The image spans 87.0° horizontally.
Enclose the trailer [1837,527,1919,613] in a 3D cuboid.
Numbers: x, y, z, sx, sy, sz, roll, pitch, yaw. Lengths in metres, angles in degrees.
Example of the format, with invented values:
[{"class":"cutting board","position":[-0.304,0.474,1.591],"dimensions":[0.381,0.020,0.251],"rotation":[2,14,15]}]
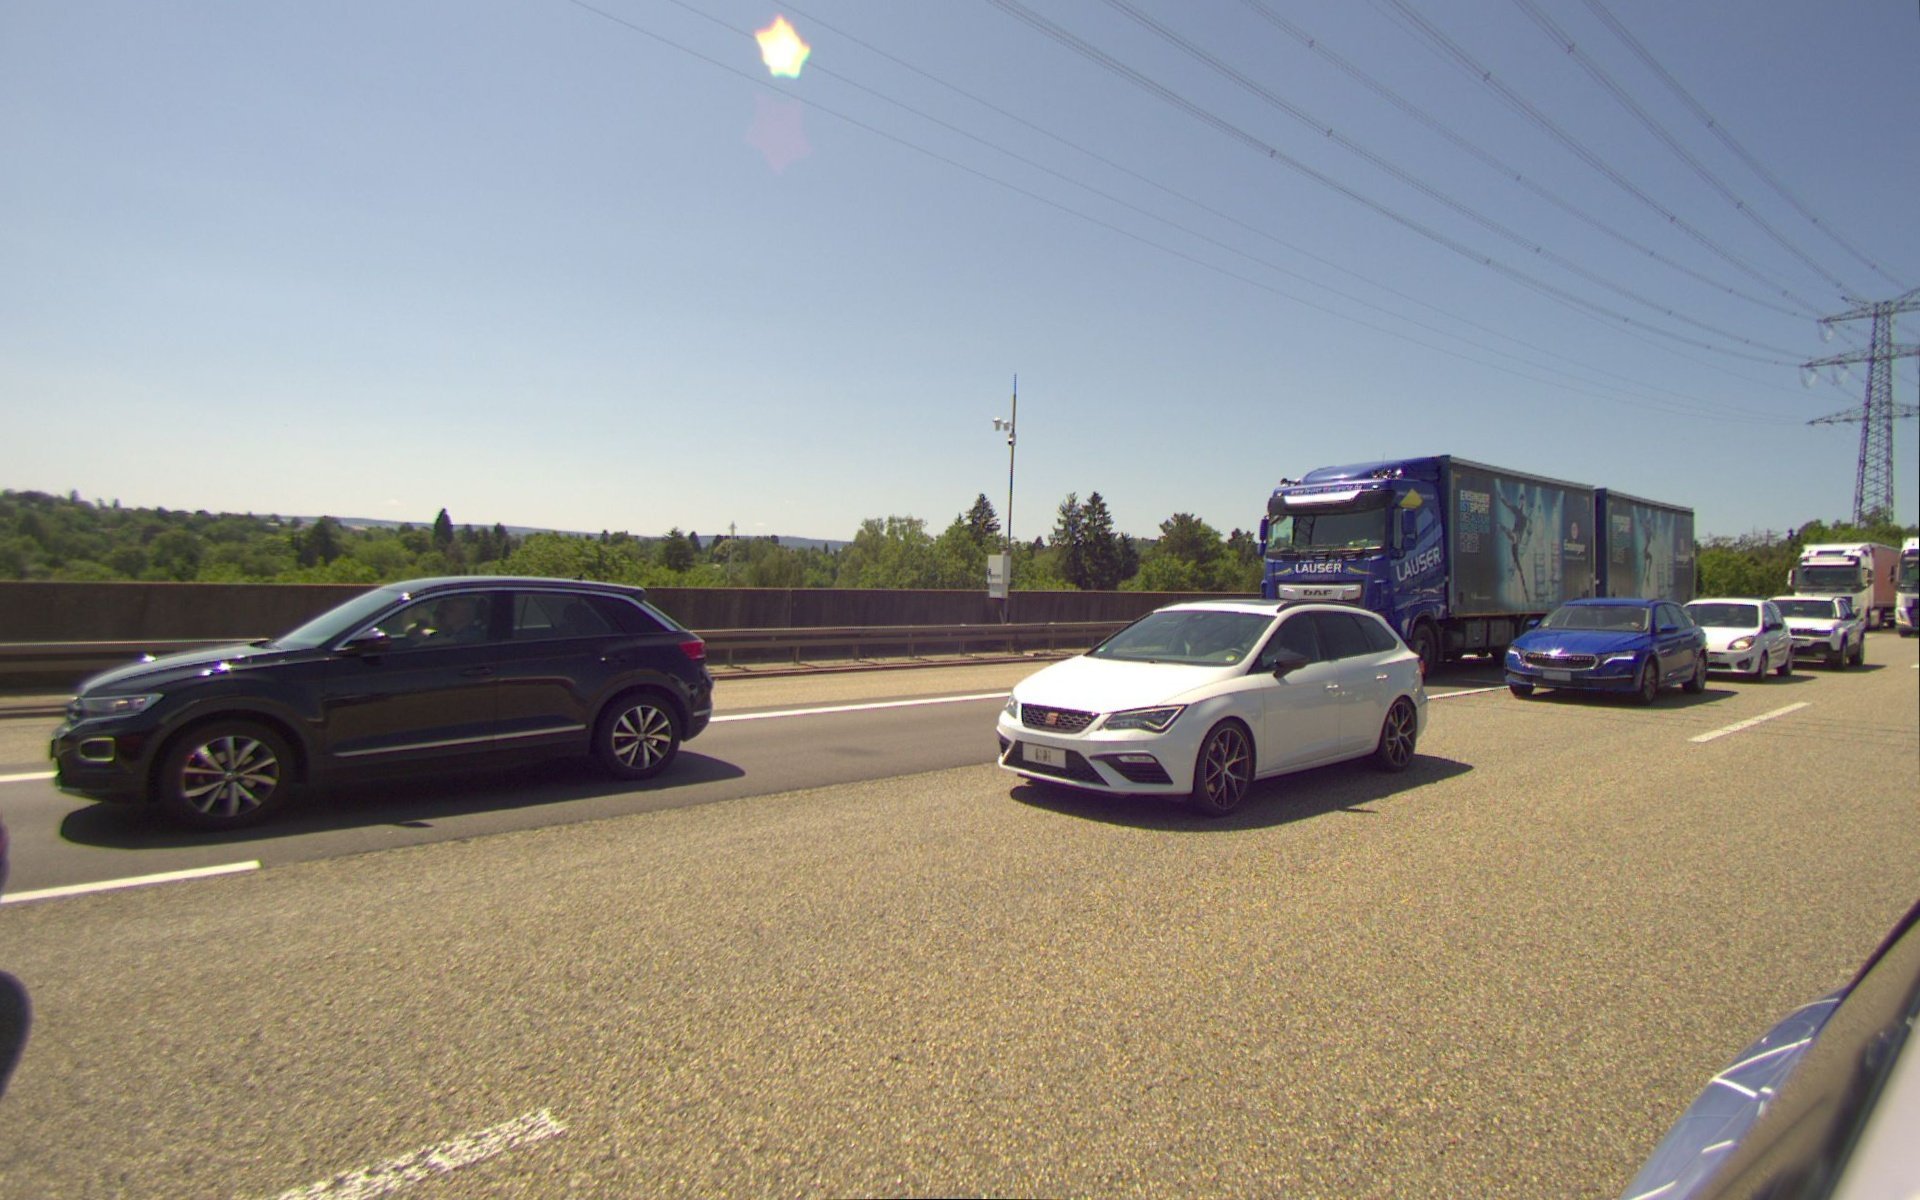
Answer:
[{"class":"trailer","position":[48.316,-1.517,52.844],"dimensions":[8.927,4.170,2.606],"rotation":[-1,0,-41]}]

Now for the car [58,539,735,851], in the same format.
[{"class":"car","position":[-3.882,0.486,7.427],"dimensions":[4.046,1.675,1.711],"rotation":[-1,0,-41]}]

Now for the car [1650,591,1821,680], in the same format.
[{"class":"car","position":[14.630,0.586,19.015],"dimensions":[4.071,1.470,1.712],"rotation":[-1,1,-40]}]

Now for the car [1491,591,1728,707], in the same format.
[{"class":"car","position":[9.724,0.605,15.005],"dimensions":[4.482,1.470,1.712],"rotation":[-1,1,-40]}]

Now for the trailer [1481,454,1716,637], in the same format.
[{"class":"trailer","position":[17.072,-1.293,26.756],"dimensions":[8.485,4.140,2.833],"rotation":[-1,0,-40]}]

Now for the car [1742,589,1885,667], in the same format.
[{"class":"car","position":[18.655,0.534,22.062],"dimensions":[4.071,1.529,1.712],"rotation":[-1,1,-40]}]

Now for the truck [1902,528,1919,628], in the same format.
[{"class":"truck","position":[40.565,-0.886,40.879],"dimensions":[8.121,3.874,2.847],"rotation":[-1,0,-41]}]

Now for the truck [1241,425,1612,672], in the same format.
[{"class":"truck","position":[9.972,-0.891,20.752],"dimensions":[10.210,3.999,2.857],"rotation":[-1,0,-40]}]

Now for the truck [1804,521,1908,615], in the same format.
[{"class":"truck","position":[41.940,-1.431,47.274],"dimensions":[8.121,4.038,2.606],"rotation":[-1,0,-41]}]

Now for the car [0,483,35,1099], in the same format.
[{"class":"car","position":[-4.768,0.544,2.042],"dimensions":[4.210,1.700,1.711],"rotation":[-1,0,-41]}]

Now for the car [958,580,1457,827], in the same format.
[{"class":"car","position":[2.180,0.621,8.114],"dimensions":[4.351,1.470,1.711],"rotation":[0,0,-41]}]
